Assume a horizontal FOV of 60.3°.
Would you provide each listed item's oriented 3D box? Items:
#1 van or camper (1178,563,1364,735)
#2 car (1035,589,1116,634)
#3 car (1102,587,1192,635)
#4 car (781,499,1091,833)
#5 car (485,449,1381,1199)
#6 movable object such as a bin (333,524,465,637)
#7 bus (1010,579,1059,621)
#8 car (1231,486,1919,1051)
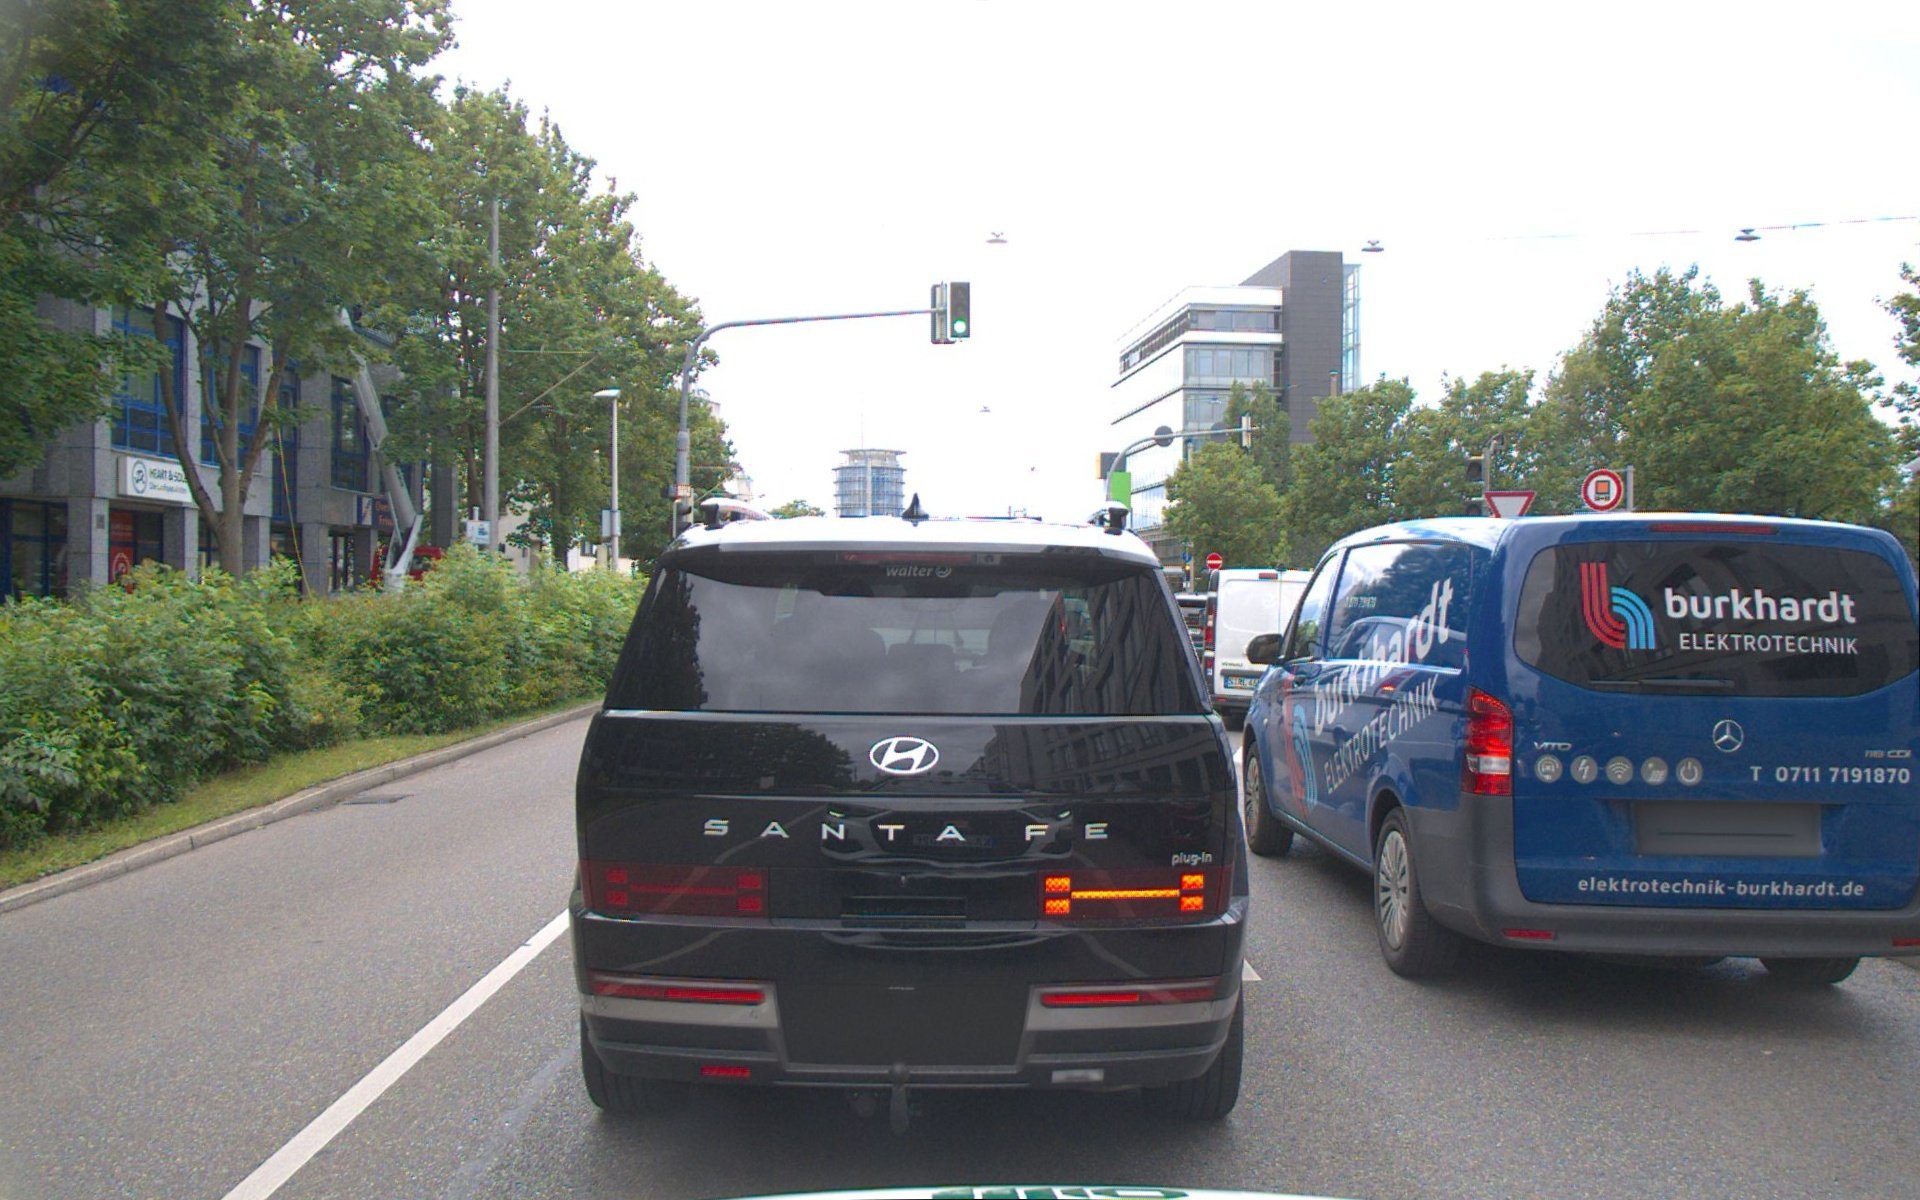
[{"bbox_3d":[3.914,0.529,21.484,1.951,1.951,4.412,1,1,6],"label":"van or camper"},{"bbox_3d":[4.053,0.390,58.855,1.751,1.450,4.384,2,1,-11],"label":"car"},{"bbox_3d":[6.763,0.376,60.342,1.856,1.591,4.381,2,1,-13],"label":"car"},{"bbox_3d":[-0.011,0.396,12.541,1.862,2.003,4.638,2,0,3],"label":"car"},{"bbox_3d":[-0.086,0.578,5.745,1.863,1.762,4.445,2,0,-1],"label":"car"},{"bbox_3d":[-13.741,-0.465,40.751,1.866,2.575,4.126,2,0,-2],"label":"movable object such as a bin"},{"bbox_3d":[5.939,0.032,133.592,2.908,3.171,9.236,-1,0,-4],"label":"bus"},{"bbox_3d":[2.690,0.572,8.020,1.863,1.891,4.708,2,0,-1],"label":"car"}]
